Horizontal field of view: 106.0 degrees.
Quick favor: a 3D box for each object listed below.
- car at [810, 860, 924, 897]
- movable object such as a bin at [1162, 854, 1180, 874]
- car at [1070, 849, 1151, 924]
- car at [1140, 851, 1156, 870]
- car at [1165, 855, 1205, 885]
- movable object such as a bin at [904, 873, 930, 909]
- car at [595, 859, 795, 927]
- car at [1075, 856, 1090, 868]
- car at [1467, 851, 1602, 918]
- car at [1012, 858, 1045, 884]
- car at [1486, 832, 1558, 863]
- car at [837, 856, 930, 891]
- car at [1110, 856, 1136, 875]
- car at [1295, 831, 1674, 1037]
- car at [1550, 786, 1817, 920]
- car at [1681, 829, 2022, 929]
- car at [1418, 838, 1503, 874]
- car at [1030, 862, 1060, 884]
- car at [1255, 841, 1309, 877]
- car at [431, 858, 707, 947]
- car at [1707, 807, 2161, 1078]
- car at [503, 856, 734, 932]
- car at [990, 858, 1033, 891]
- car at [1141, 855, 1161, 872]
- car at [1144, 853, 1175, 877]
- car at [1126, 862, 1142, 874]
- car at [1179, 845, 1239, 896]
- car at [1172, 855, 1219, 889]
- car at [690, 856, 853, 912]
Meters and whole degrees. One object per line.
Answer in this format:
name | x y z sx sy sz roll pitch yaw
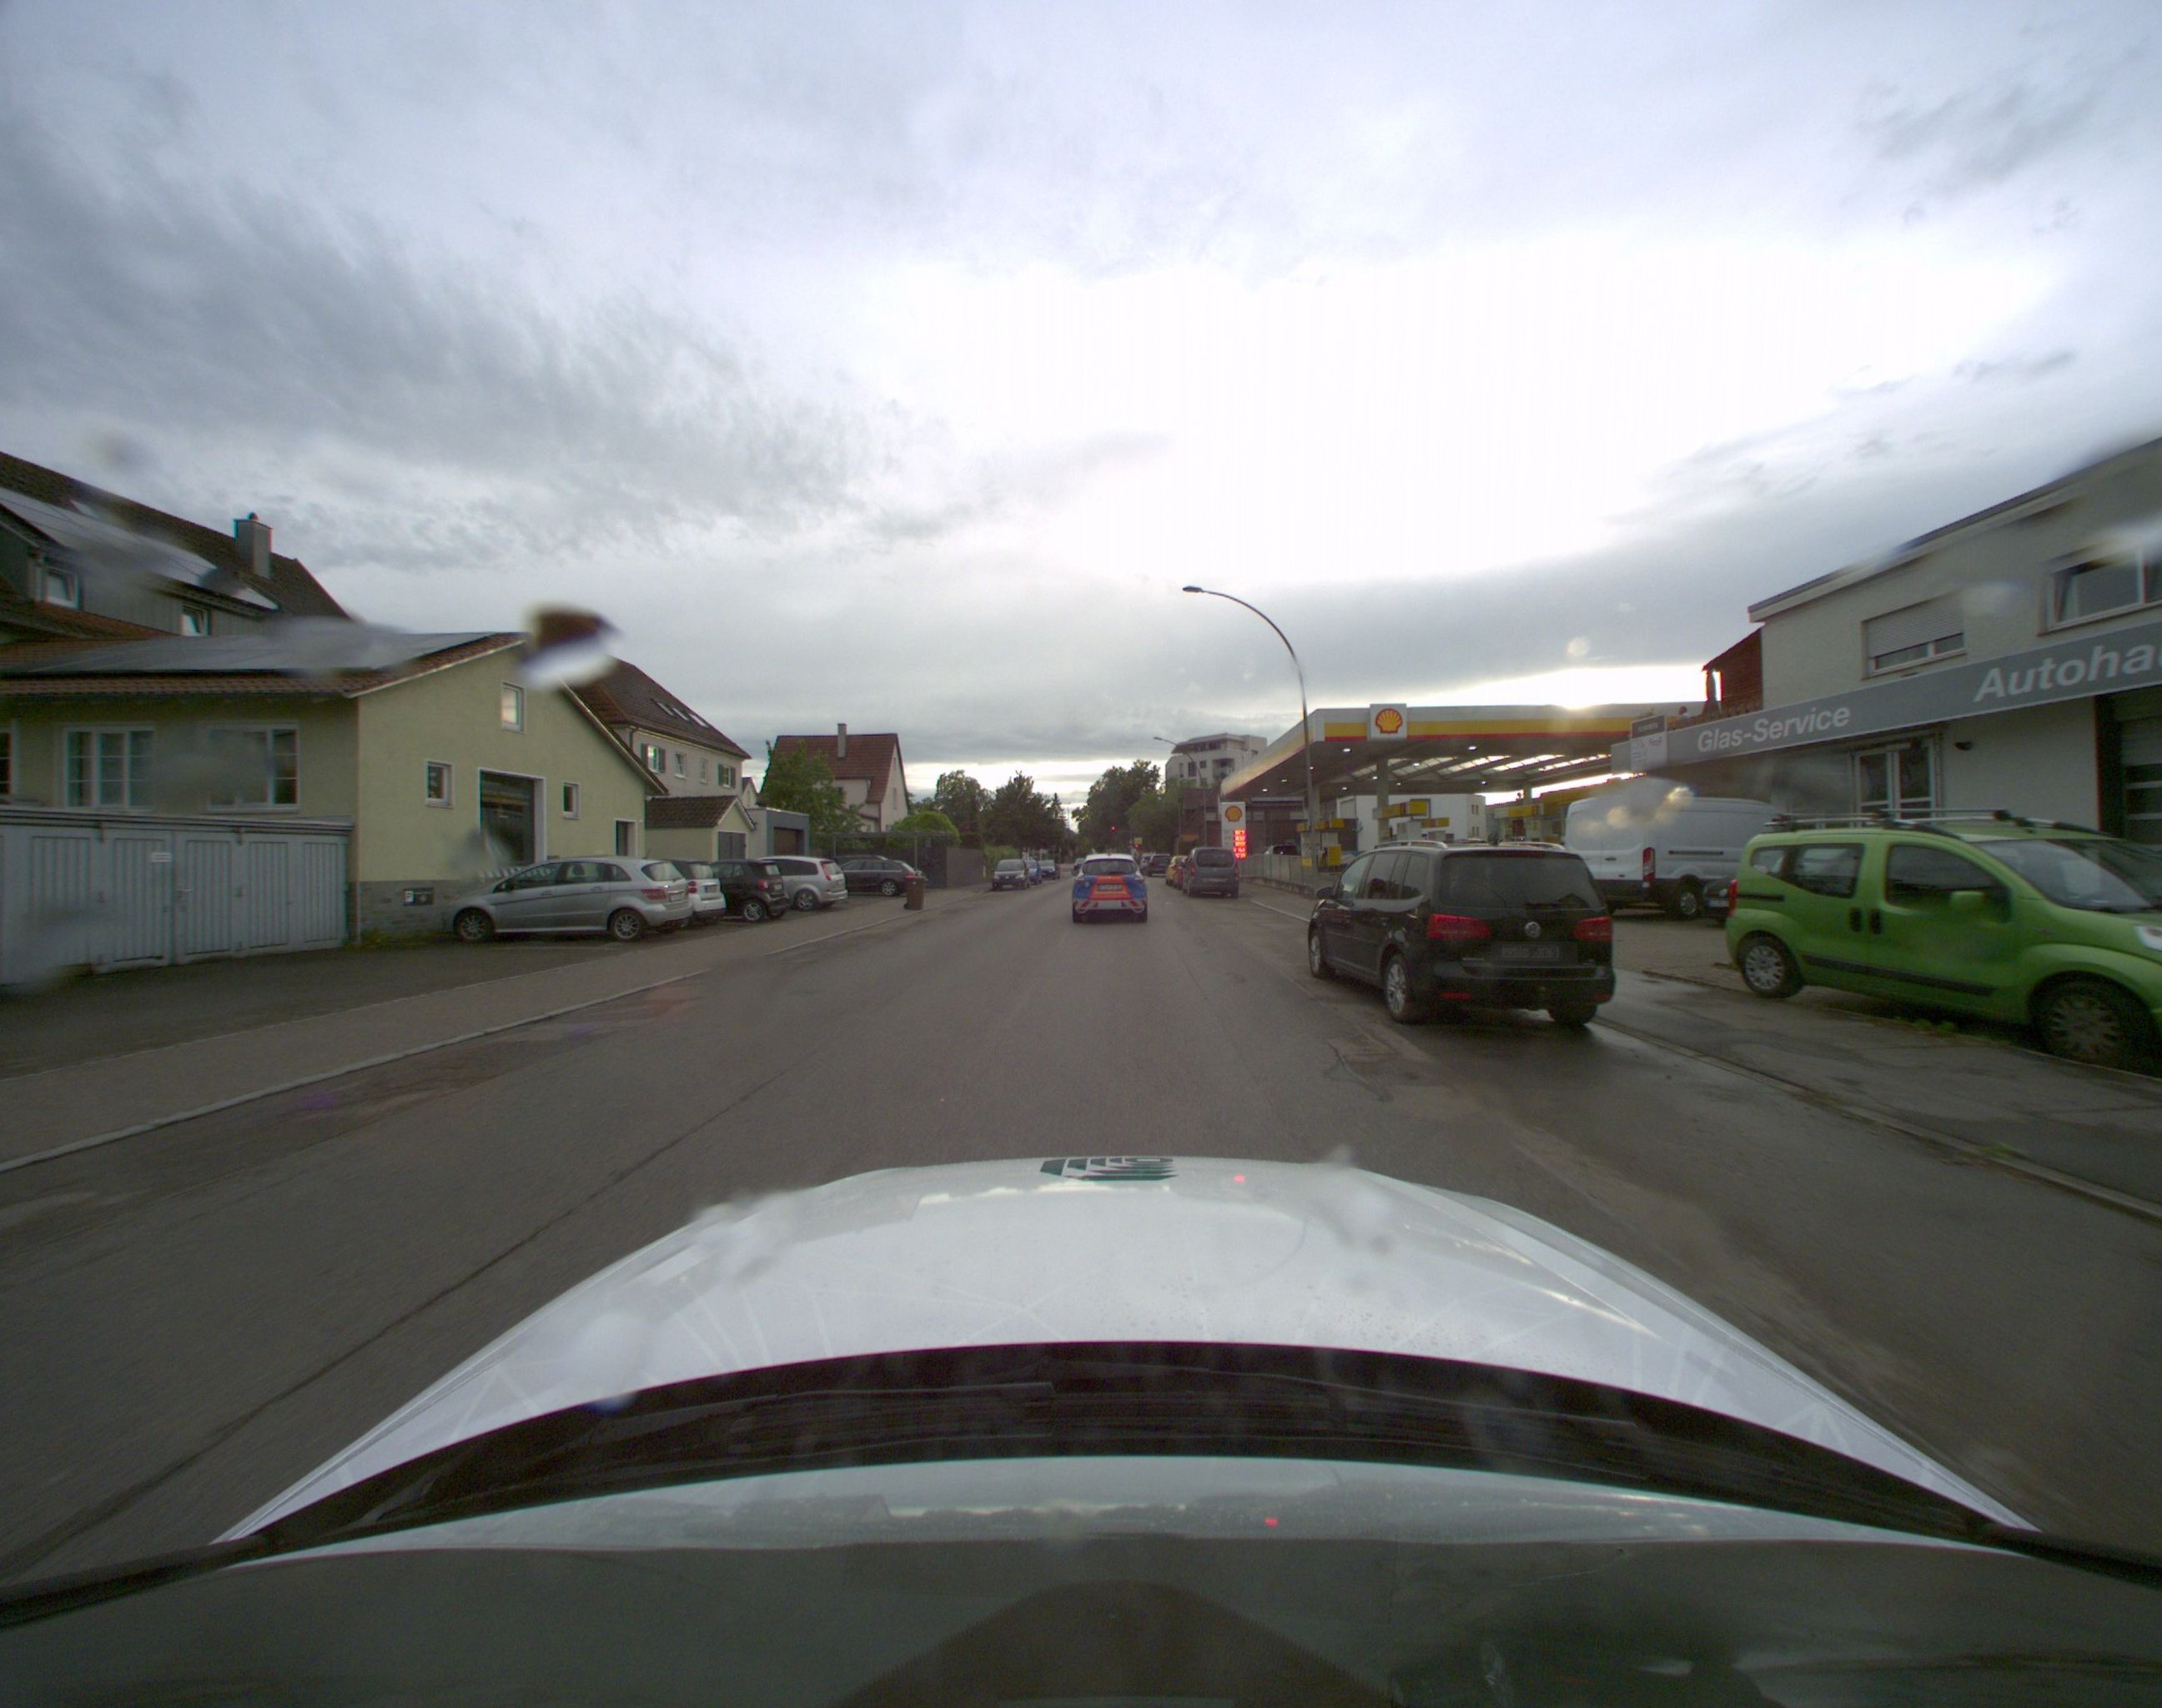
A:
car | -8.381 0.937 32.180 4.077 1.414 1.711 0 0 -5
movable object such as a bin | 6.486 0.720 58.561 1.123 1.388 1.504 -1 0 0
car | 0.733 0.704 19.813 1.739 1.581 4.003 -1 0 2
car | 7.345 0.683 89.117 1.769 2.029 4.761 0 1 5
car | 5.132 0.758 40.638 1.650 1.402 3.803 -1 0 2
movable object such as a bin | -5.267 1.188 26.183 0.593 1.057 0.687 4 2 2
car | -9.471 0.922 20.248 4.075 1.503 1.754 -1 0 -4
car | 0.203 0.988 105.396 1.619 1.433 3.688 -1 0 4
car | 10.924 0.652 19.484 4.023 1.374 1.758 -1 0 -45
car | -3.106 1.007 48.648 1.539 1.403 3.599 -2 0 3
car | 22.260 -0.313 41.255 1.733 1.466 3.782 -1 0 2
car | -8.487 0.822 35.257 3.576 1.457 1.755 1 0 -3
car | 3.805 1.012 73.218 1.982 1.574 4.010 0 1 8
car | 3.766 0.624 8.530 1.987 1.596 4.000 -1 0 0
car | 12.666 -0.069 17.172 4.804 2.520 2.233 -1 0 -20
car | 13.405 0.406 14.364 4.289 1.573 1.896 -1 0 -2
car | 16.729 0.068 36.199 1.733 1.466 4.676 -1 0 2
car | -2.596 1.349 59.165 1.799 1.403 3.947 -2 0 3
car | 10.456 0.266 42.703 1.814 1.759 3.999 -1 0 0
car | -9.837 0.892 15.956 4.075 1.532 1.997 -1 0 -4
car | 7.665 0.527 6.639 1.988 1.683 3.997 -1 0 -2
car | -10.205 0.847 18.226 4.073 1.532 1.813 -1 0 -2
car | -3.422 0.993 40.889 1.602 1.506 3.710 -2 0 3
car | 7.142 0.984 83.139 1.858 1.665 4.322 0 0 2
car | 5.931 0.794 61.951 2.083 1.662 4.562 0 1 2
car | 6.808 1.727 104.353 1.789 1.428 3.999 0 1 -1
car | 4.691 0.578 30.341 1.650 1.738 4.447 1 0 2
car | 5.013 0.759 35.993 1.650 1.376 4.027 -1 0 2
car | -9.045 0.847 24.088 4.075 1.513 1.881 -1 0 -4
